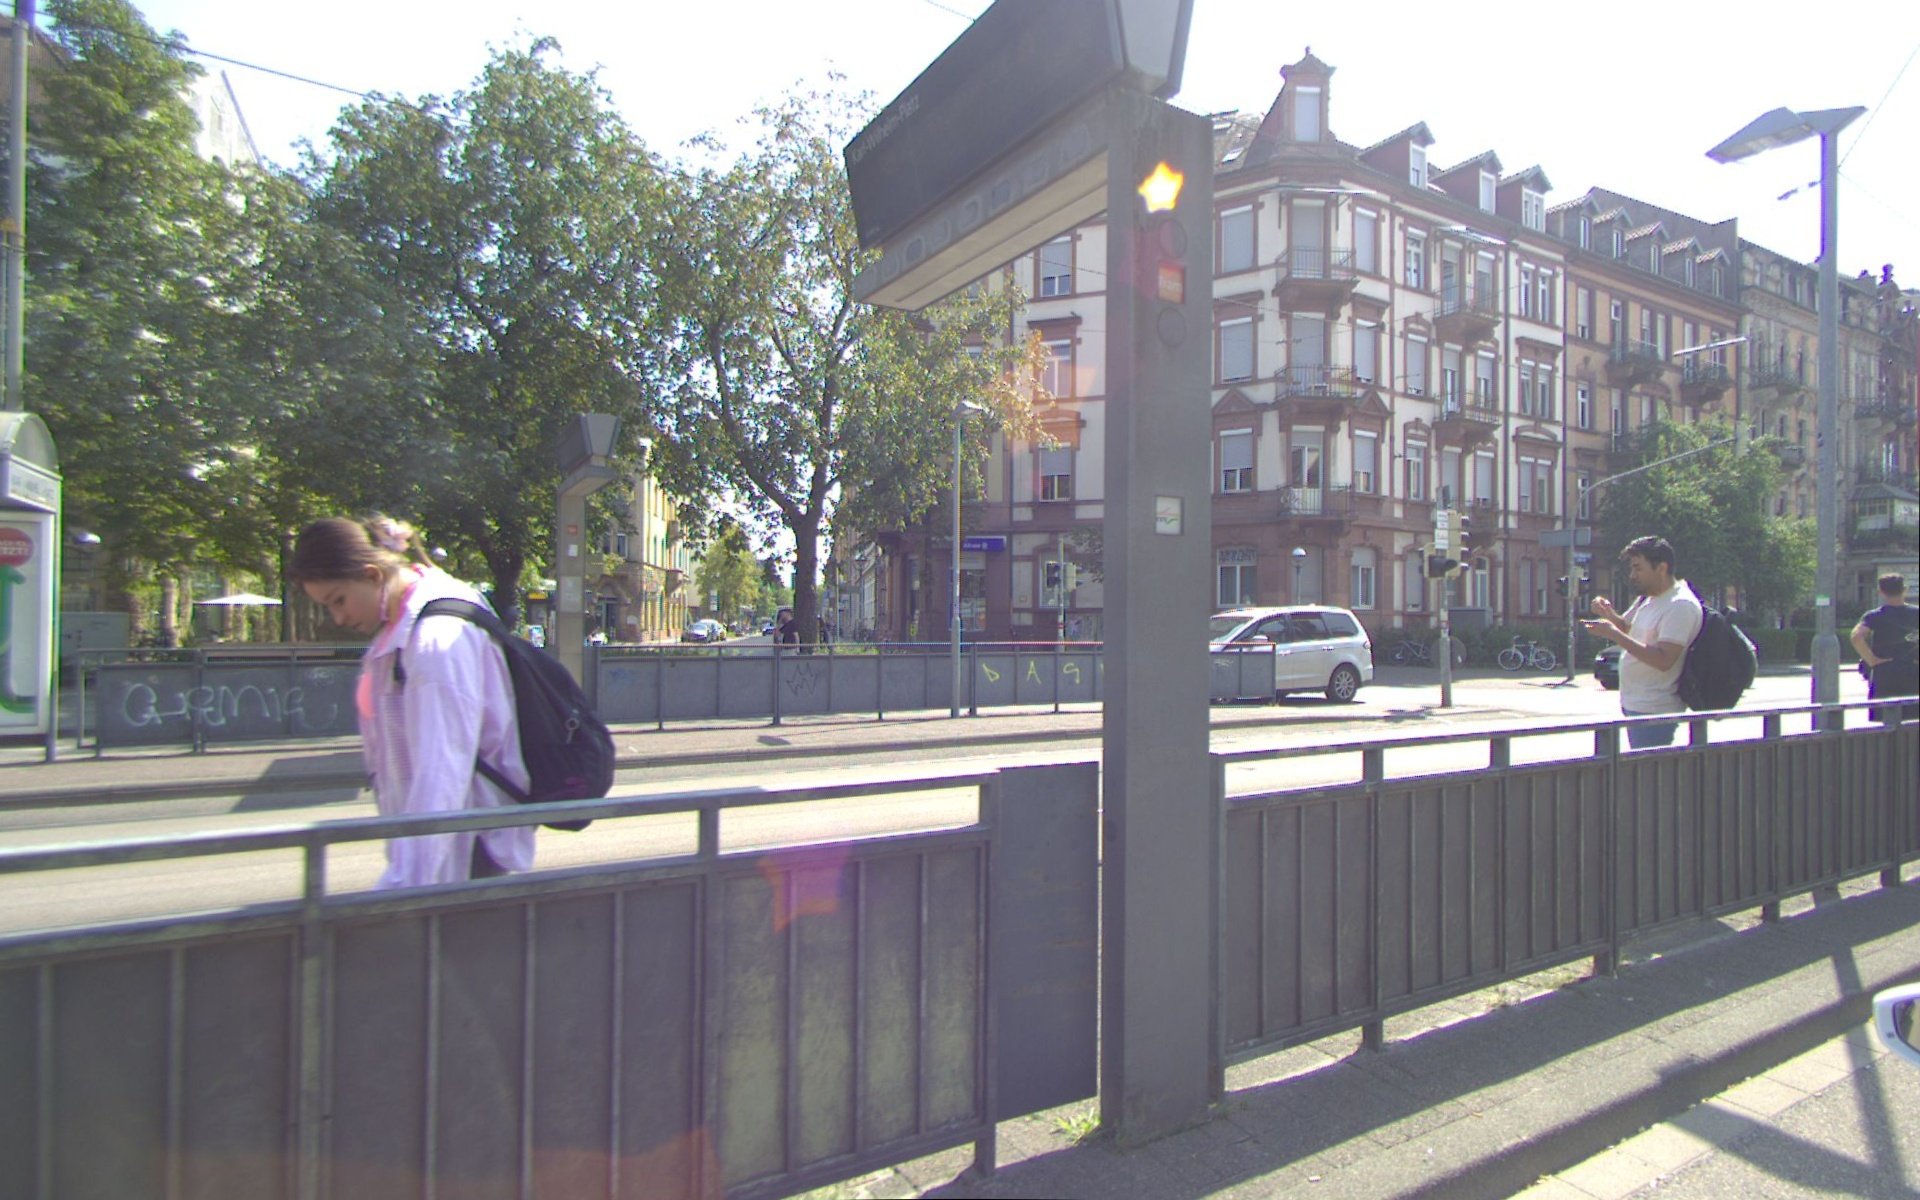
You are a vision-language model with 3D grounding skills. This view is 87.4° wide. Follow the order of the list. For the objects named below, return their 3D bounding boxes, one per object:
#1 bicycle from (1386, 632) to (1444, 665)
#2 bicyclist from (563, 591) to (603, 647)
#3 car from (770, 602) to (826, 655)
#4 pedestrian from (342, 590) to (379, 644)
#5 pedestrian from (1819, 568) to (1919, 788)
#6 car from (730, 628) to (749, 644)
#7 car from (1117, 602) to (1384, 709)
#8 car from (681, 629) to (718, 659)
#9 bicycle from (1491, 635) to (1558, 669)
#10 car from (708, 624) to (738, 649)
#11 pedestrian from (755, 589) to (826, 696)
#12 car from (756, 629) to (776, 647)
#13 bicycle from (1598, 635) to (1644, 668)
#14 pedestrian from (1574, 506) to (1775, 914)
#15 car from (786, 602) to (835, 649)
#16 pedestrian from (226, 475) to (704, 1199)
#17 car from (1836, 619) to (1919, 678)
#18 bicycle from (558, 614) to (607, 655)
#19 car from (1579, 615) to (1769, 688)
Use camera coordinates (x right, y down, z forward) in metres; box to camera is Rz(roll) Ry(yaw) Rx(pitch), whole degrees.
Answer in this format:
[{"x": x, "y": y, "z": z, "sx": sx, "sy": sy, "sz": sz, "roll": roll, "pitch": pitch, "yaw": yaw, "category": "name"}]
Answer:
[{"x": 14.490, "y": 1.544, "z": 31.994, "sx": 1.645, "sy": 1.010, "sz": 0.395, "roll": 0, "pitch": -1, "yaw": 8, "category": "bicycle"}, {"x": -13.986, "y": 0.715, "z": 37.307, "sx": 1.190, "sy": 2.040, "sz": 1.208, "roll": 2, "pitch": -2, "yaw": -16, "category": "bicyclist"}, {"x": -6.635, "y": 1.164, "z": 41.522, "sx": 2.126, "sy": 2.040, "sz": 5.021, "roll": 1, "pitch": -1, "yaw": -8, "category": "car"}, {"x": -23.196, "y": 0.651, "z": 38.877, "sx": 1.080, "sy": 2.040, "sz": 1.030, "roll": 2, "pitch": 0, "yaw": -25, "category": "pedestrian"}, {"x": 8.468, "y": 0.687, "z": 9.084, "sx": 0.905, "sy": 1.910, "sz": 0.675, "roll": 0, "pitch": -1, "yaw": 24, "category": "pedestrian"}, {"x": -28.850, "y": 4.691, "z": 131.669, "sx": 2.127, "sy": 2.040, "sz": 5.019, "roll": 1, "pitch": -1, "yaw": -9, "category": "car"}, {"x": 5.332, "y": 0.981, "z": 18.389, "sx": 4.569, "sy": 1.748, "sz": 1.988, "roll": 1, "pitch": -2, "yaw": -26, "category": "car"}, {"x": -18.888, "y": 3.148, "z": 73.093, "sx": 2.127, "sy": 2.040, "sz": 5.019, "roll": 1, "pitch": -1, "yaw": -9, "category": "car"}, {"x": 17.712, "y": 1.630, "z": 31.542, "sx": 1.793, "sy": 1.010, "sz": 0.489, "roll": 0, "pitch": -1, "yaw": 8, "category": "bicycle"}, {"x": -20.768, "y": 3.165, "z": 88.204, "sx": 2.127, "sy": 2.040, "sz": 5.019, "roll": 1, "pitch": -1, "yaw": -9, "category": "car"}, {"x": -3.383, "y": 0.821, "z": 19.980, "sx": 1.024, "sy": 2.040, "sz": 1.086, "roll": 2, "pitch": 0, "yaw": -30, "category": "pedestrian"}, {"x": -23.612, "y": 4.595, "z": 122.365, "sx": 2.127, "sy": 2.040, "sz": 5.019, "roll": 1, "pitch": -1, "yaw": -9, "category": "car"}, {"x": 21.606, "y": 1.673, "z": 32.824, "sx": 1.755, "sy": 1.035, "sz": 0.485, "roll": 1, "pitch": -1, "yaw": -28, "category": "bicycle"}, {"x": 3.748, "y": 0.524, "z": 5.263, "sx": 0.916, "sy": 1.910, "sz": 0.667, "roll": 1, "pitch": -1, "yaw": -41, "category": "pedestrian"}, {"x": -6.951, "y": 1.177, "z": 47.030, "sx": 2.126, "sy": 2.040, "sz": 5.021, "roll": 1, "pitch": -1, "yaw": -8, "category": "car"}, {"x": -1.117, "y": 0.592, "z": 2.316, "sx": 0.843, "sy": 1.605, "sz": 0.733, "roll": 1, "pitch": -1, "yaw": -31, "category": "pedestrian"}, {"x": 28.565, "y": 1.431, "z": 30.138, "sx": 4.574, "sy": 1.669, "sz": 1.985, "roll": 1, "pitch": -2, "yaw": -29, "category": "car"}, {"x": -13.999, "y": 1.263, "z": 37.358, "sx": 1.201, "sy": 1.455, "sz": 3.477, "roll": 1, "pitch": -1, "yaw": -12, "category": "bicycle"}, {"x": 17.833, "y": 1.258, "z": 25.060, "sx": 4.571, "sy": 1.669, "sz": 1.986, "roll": 1, "pitch": -2, "yaw": -27, "category": "car"}]
